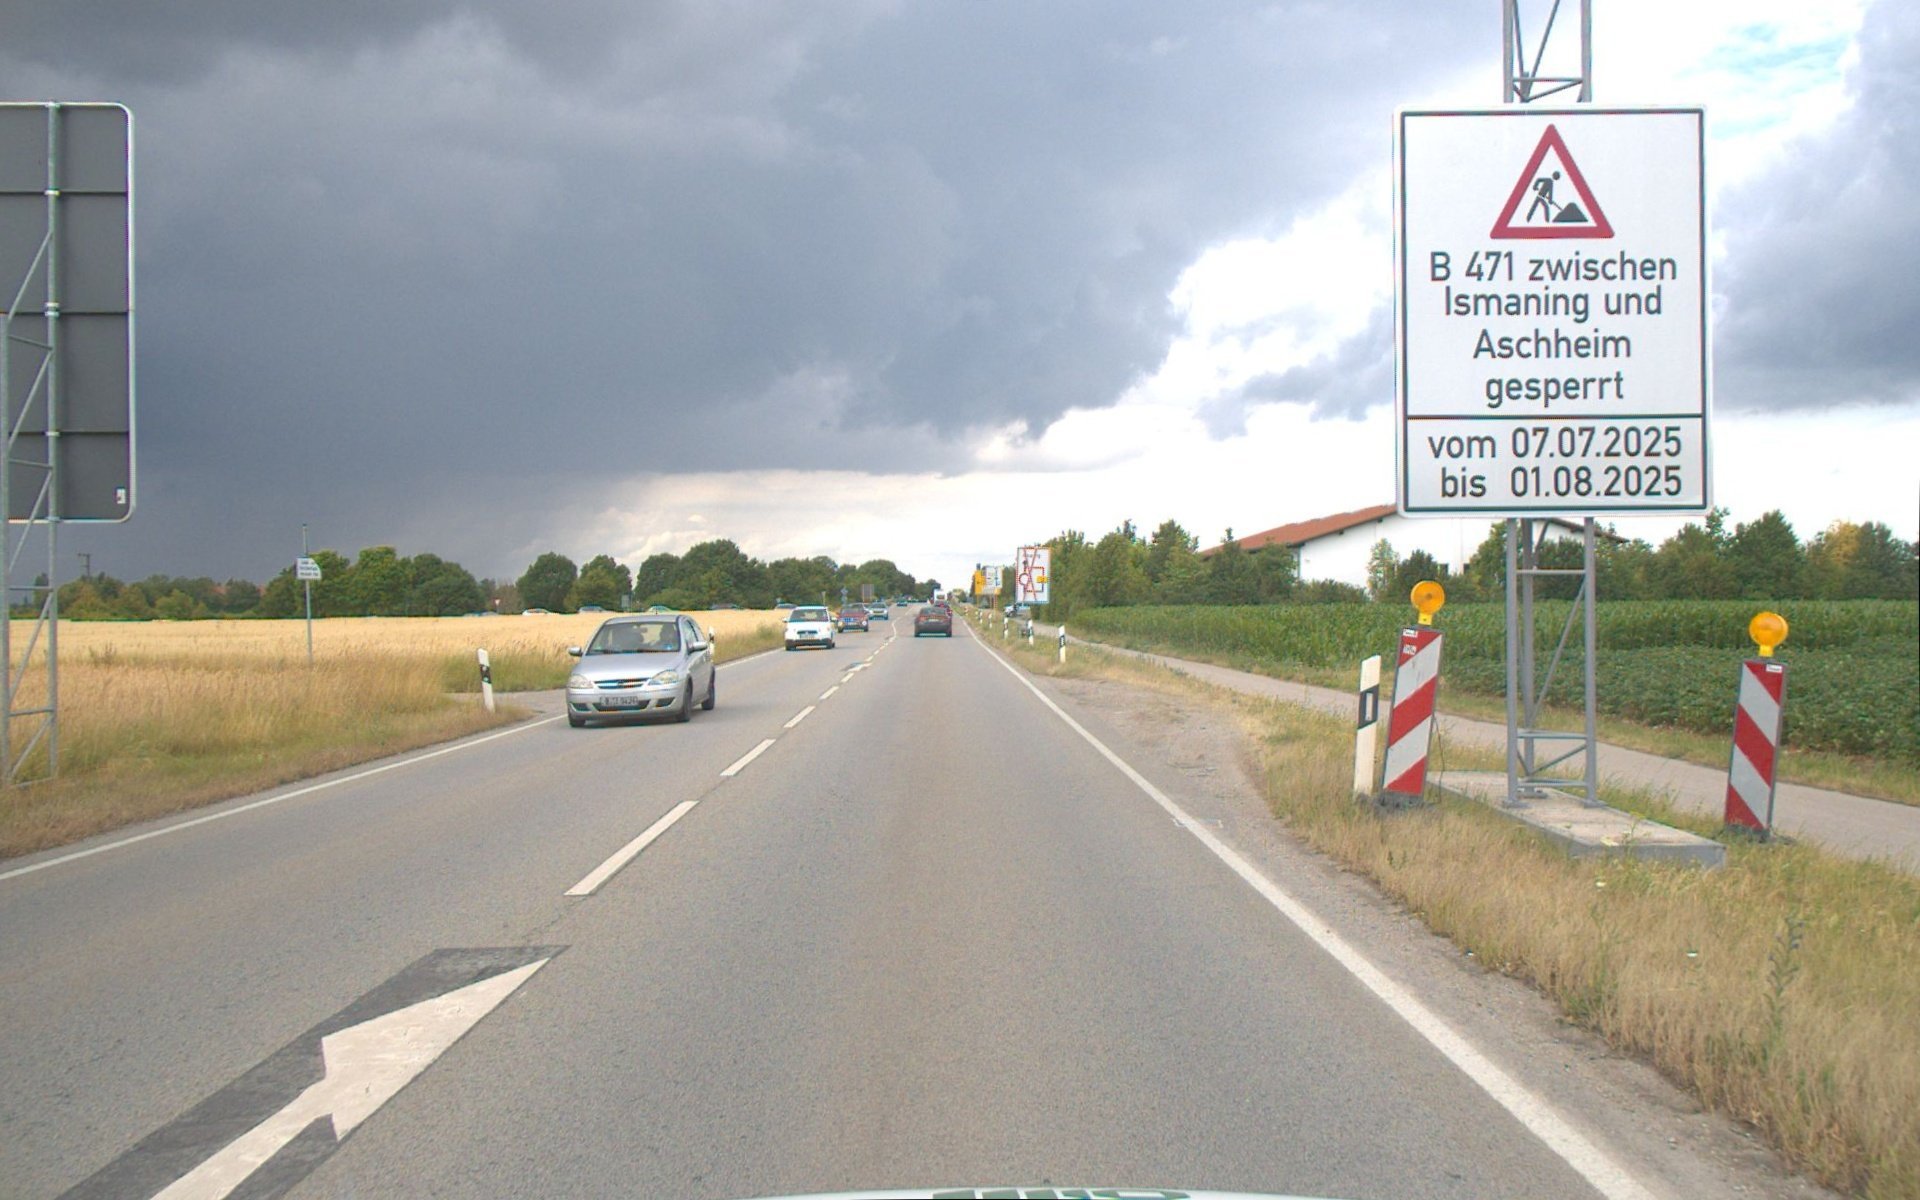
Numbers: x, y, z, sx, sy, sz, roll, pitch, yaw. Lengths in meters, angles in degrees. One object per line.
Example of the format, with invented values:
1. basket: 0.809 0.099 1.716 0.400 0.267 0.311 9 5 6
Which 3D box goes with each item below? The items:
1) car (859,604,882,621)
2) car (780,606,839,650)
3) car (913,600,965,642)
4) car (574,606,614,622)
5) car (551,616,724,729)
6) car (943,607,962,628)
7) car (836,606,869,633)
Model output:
1. car: -8.691 1.201 160.896 2.023 1.608 4.764 -2 0 -1
2. car: -5.353 0.979 59.197 1.769 1.482 4.112 -1 0 -1
3. car: -1.055 1.009 80.458 2.325 1.913 4.475 -2 0 -3
4. car: -41.413 1.602 187.085 3.986 1.678 1.867 -1 0 3
5. car: -4.416 0.948 23.211 1.693 1.387 3.949 -1 0 -1
6. car: -0.636 1.463 137.879 1.539 1.731 3.999 -1 0 -1
7. car: -6.300 1.149 97.272 1.677 1.514 4.607 -1 0 -1
